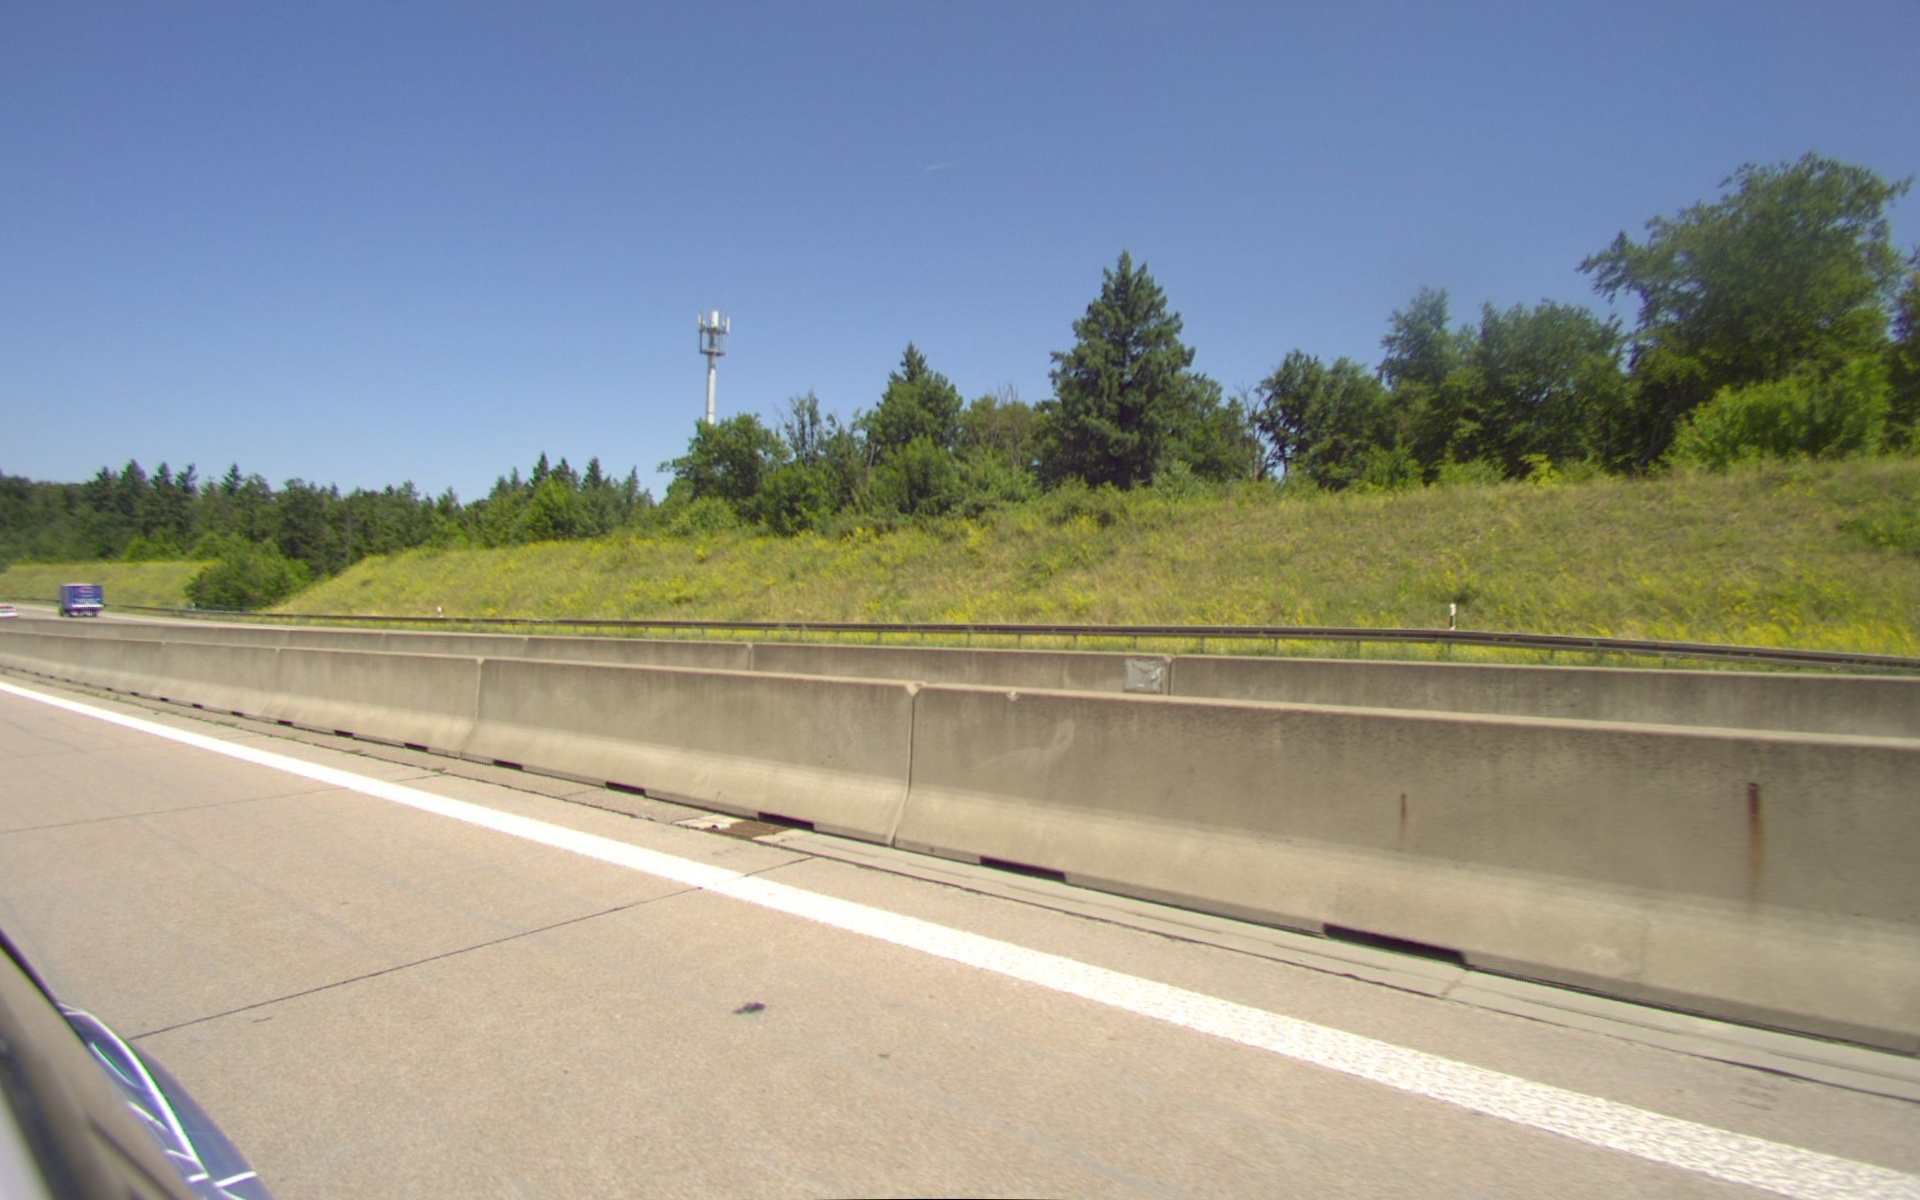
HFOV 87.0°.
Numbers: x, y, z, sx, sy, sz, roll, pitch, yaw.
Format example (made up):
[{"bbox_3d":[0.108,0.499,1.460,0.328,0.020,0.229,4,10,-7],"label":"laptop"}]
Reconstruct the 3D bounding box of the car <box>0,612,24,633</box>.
[{"bbox_3d":[-74.540,1.741,78.665,4.406,1.617,1.975,0,0,38],"label":"car"}]

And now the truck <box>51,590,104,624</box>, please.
[{"bbox_3d":[-82.650,0.620,94.742,7.828,3.011,2.536,0,0,40],"label":"truck"}]
